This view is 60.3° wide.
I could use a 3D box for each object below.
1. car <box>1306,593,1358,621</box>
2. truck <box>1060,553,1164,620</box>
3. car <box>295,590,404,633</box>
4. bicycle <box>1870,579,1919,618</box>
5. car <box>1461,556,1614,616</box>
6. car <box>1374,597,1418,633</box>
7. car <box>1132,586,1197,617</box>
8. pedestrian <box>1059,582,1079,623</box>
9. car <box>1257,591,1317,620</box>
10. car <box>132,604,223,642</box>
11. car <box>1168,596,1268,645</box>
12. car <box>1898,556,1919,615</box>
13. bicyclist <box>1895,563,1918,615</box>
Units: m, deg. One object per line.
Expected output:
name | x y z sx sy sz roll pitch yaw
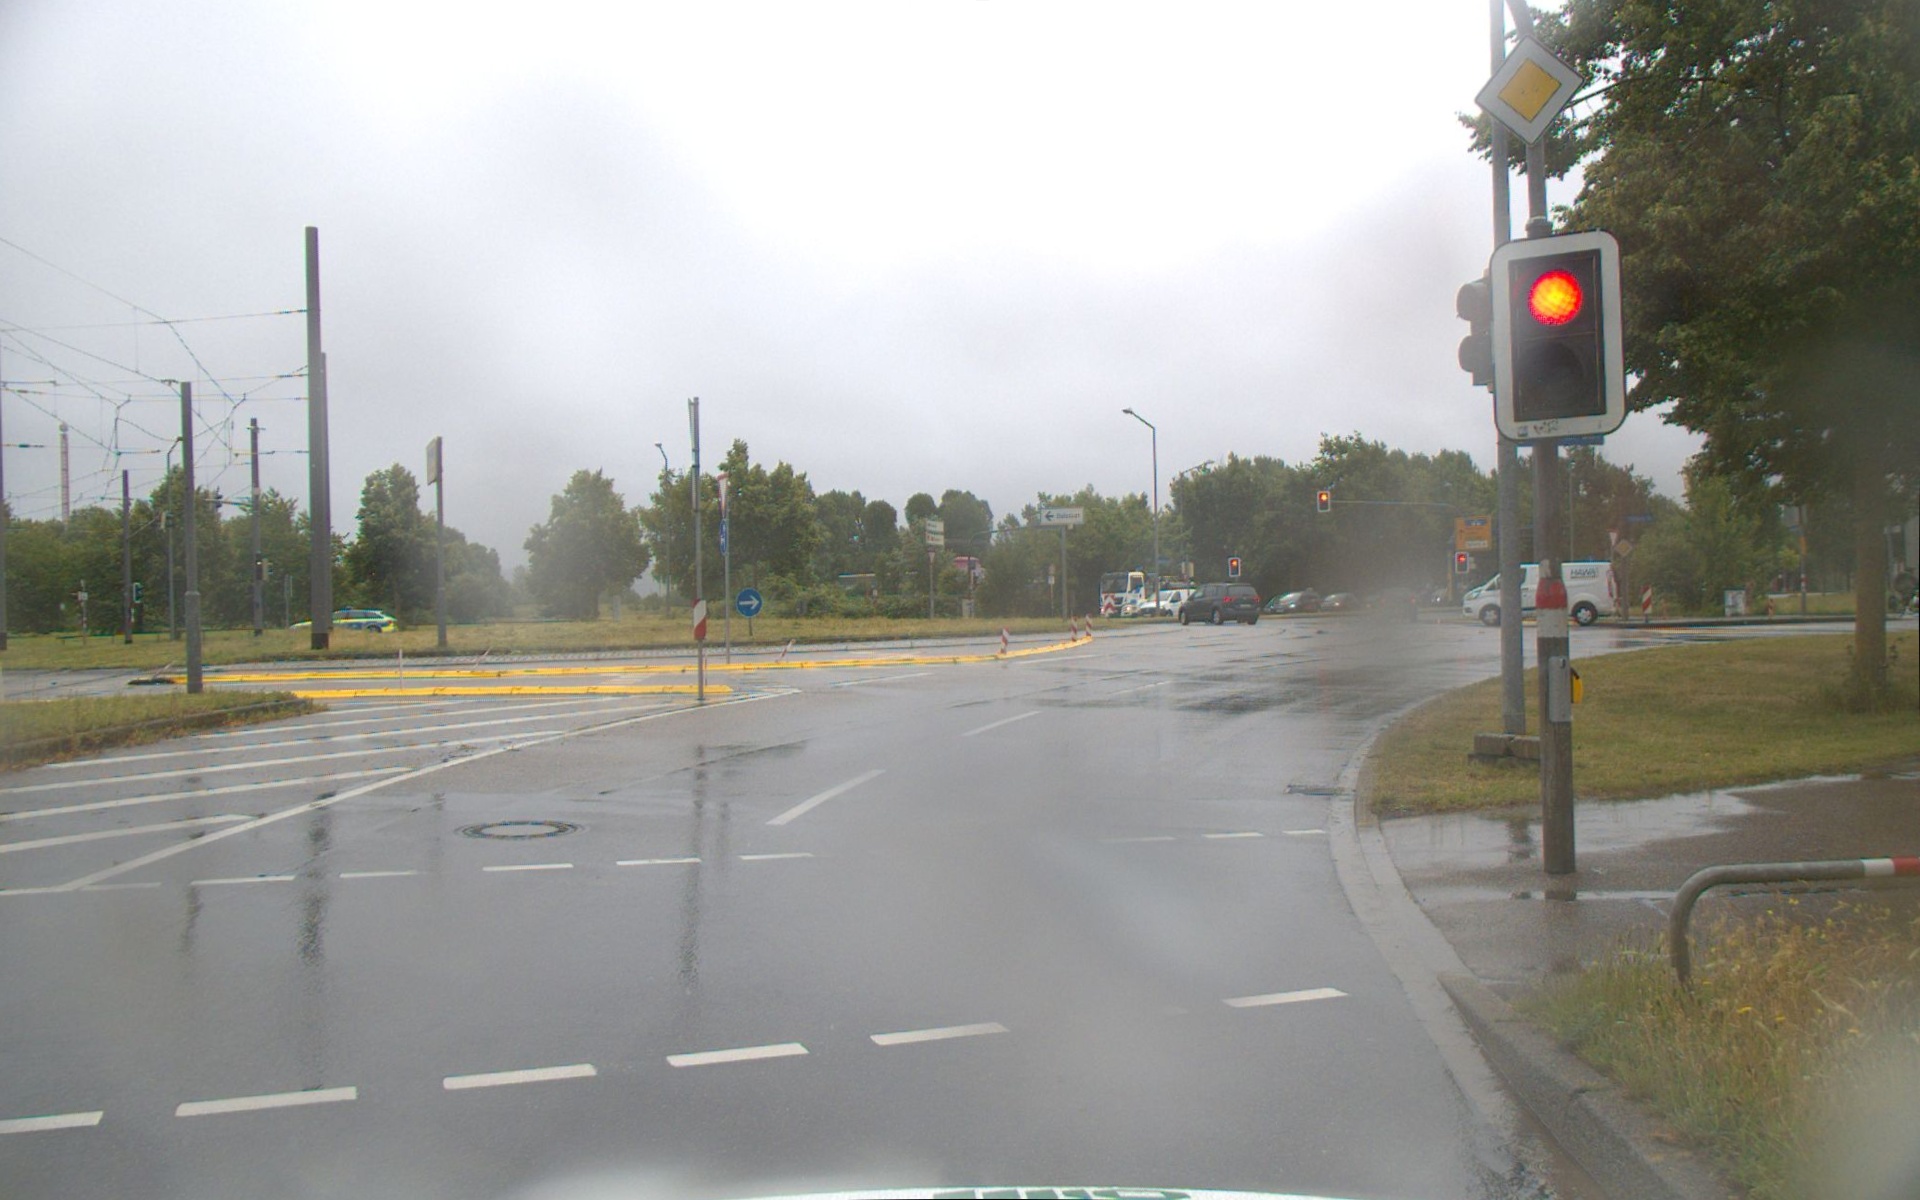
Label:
car | 24.286 0.475 107.841 1.767 1.691 3.982 0 -1 38
truck | 6.940 -0.545 74.223 2.411 2.733 8.058 1 -1 22
car | -28.592 0.520 77.573 4.687 1.883 1.989 -1 0 -19
bicycle | 33.017 -0.048 57.422 2.449 1.337 0.572 1 -1 20
car | 19.054 -0.451 54.574 4.663 1.884 1.999 1 -1 22
car | 18.802 0.638 71.410 1.583 1.479 3.991 -1 0 11
car | 11.917 0.080 96.263 1.769 1.691 4.112 0 -1 40
pedestrian | 3.565 0.091 54.318 0.445 1.327 0.484 -1 0 38
car | 20.312 0.326 102.520 1.769 1.691 4.386 0 -1 40
car | -40.080 1.199 84.794 1.644 1.848 3.994 1 -1 28
car | 10.400 0.808 66.980 1.964 1.884 4.747 1 -1 -20
car | 32.838 -0.506 52.806 4.665 1.883 1.999 -1 0 -3
bicyclist | 32.899 -0.373 57.485 0.576 1.772 0.496 1 -1 17
